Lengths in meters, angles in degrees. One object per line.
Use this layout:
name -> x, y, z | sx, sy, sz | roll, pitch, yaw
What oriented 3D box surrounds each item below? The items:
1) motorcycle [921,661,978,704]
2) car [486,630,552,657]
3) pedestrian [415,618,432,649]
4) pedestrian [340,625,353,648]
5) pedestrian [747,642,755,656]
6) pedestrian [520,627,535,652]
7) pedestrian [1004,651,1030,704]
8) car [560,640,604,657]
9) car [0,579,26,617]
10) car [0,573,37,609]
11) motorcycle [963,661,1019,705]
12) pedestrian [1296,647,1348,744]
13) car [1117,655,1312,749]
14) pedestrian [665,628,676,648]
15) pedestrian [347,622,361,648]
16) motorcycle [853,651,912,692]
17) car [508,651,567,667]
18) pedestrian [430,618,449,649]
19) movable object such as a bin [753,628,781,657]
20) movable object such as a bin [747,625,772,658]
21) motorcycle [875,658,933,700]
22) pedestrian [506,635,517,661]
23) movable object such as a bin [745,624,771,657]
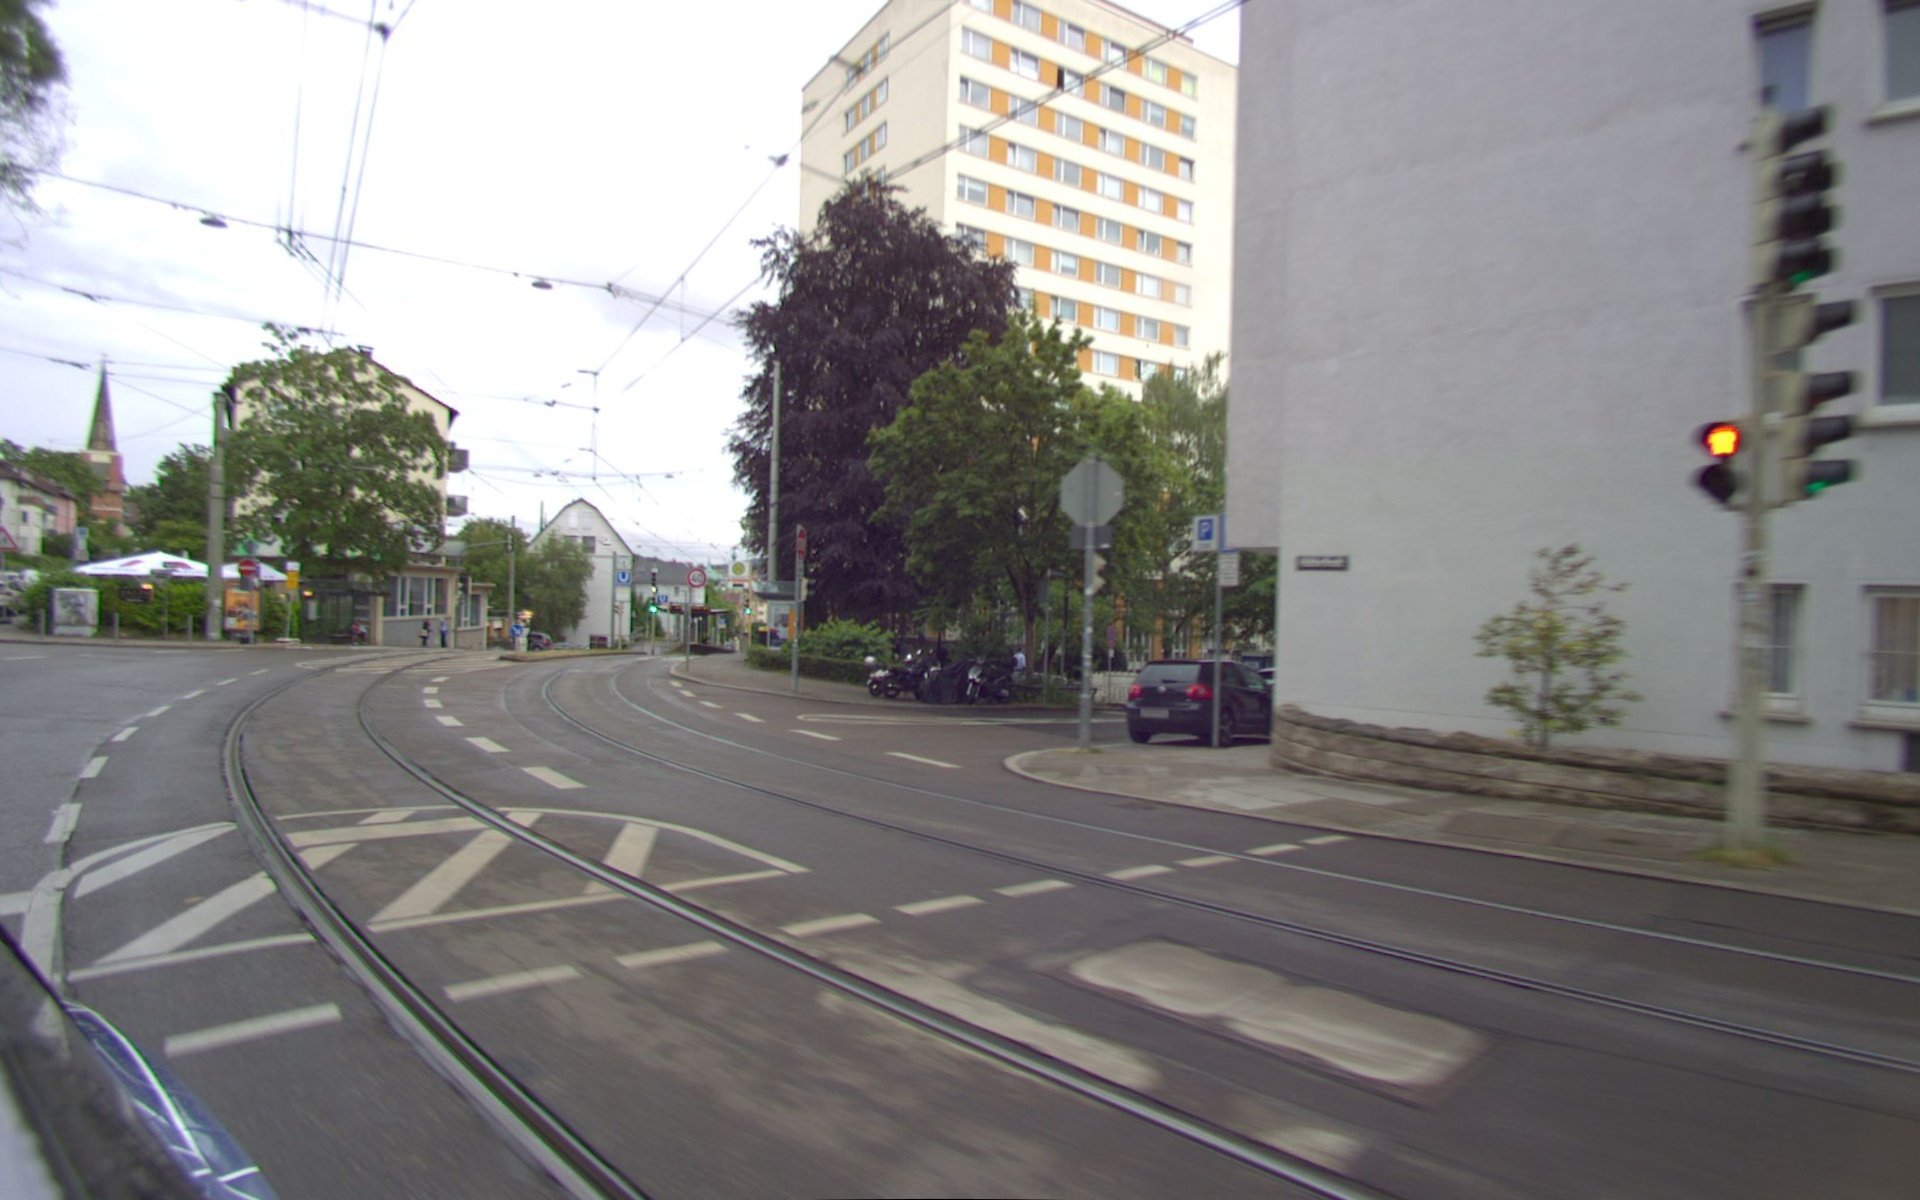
motorcycle -> -0.250, 2.116, 26.233 | 0.483, 1.057, 2.102 | -3, -4, 30
car -> -34.400, 3.412, 78.977 | 4.276, 1.687, 1.782 | 4, -5, -6
pedestrian -> -27.767, 1.723, 52.387 | 0.538, 1.566, 0.560 | 3, -4, -10
pedestrian -> -27.287, 1.623, 45.025 | 0.320, 1.002, 0.318 | 4, -4, -11
pedestrian -> -23.460, 5.479, 113.558 | 0.744, 1.606, 0.618 | 0, -3, -5
pedestrian -> -30.910, 2.860, 72.368 | 0.711, 1.727, 0.608 | 3, -4, 1
pedestrian -> 1.887, 2.545, 33.506 | 0.560, 1.697, 0.778 | 3, -2, -15
car -> -38.766, 4.936, 103.889 | 3.934, 1.477, 1.822 | 2, 2, -12
car -> -44.567, -0.121, 46.668 | 1.666, 1.703, 3.813 | 3, -2, -36
car -> -47.467, -0.427, 50.442 | 1.666, 1.703, 3.813 | 3, -2, -36
motorcycle -> 0.809, 2.074, 25.645 | 0.483, 1.057, 2.102 | -3, -4, 30
pedestrian -> 6.615, 1.723, 18.485 | 0.672, 1.713, 0.736 | -3, -4, 37
car -> 4.638, 1.734, 18.047 | 1.853, 1.466, 4.198 | -3, -5, 37
pedestrian -> -22.732, 2.999, 79.379 | 0.662, 1.560, 0.772 | 2, -4, -8
pedestrian -> -27.191, 1.567, 45.402 | 0.320, 1.159, 0.318 | 4, -4, -11
motorcycle -> -2.064, 1.920, 27.348 | 0.483, 1.057, 2.102 | -1, -3, 30
car -> -40.740, 5.697, 97.632 | 4.870, 1.448, 1.977 | 0, -2, -7
pedestrian -> -27.030, 1.764, 52.550 | 0.581, 1.566, 0.651 | 3, -4, -8
movable object such as a bin -> -7.788, 1.731, 40.912 | 1.008, 1.147, 1.344 | 0, -3, -6
movable object such as a bin -> -9.177, 1.906, 46.299 | 1.008, 1.445, 1.446 | 0, -3, -6
motorcycle -> -1.463, 2.087, 26.878 | 0.483, 1.057, 2.102 | -3, -4, 30
pedestrian -> -30.695, 3.298, 69.260 | 0.571, 1.727, 0.615 | 0, -3, -11
movable object such as a bin -> -8.863, 1.788, 44.544 | 1.008, 1.445, 1.429 | 0, -3, -6
